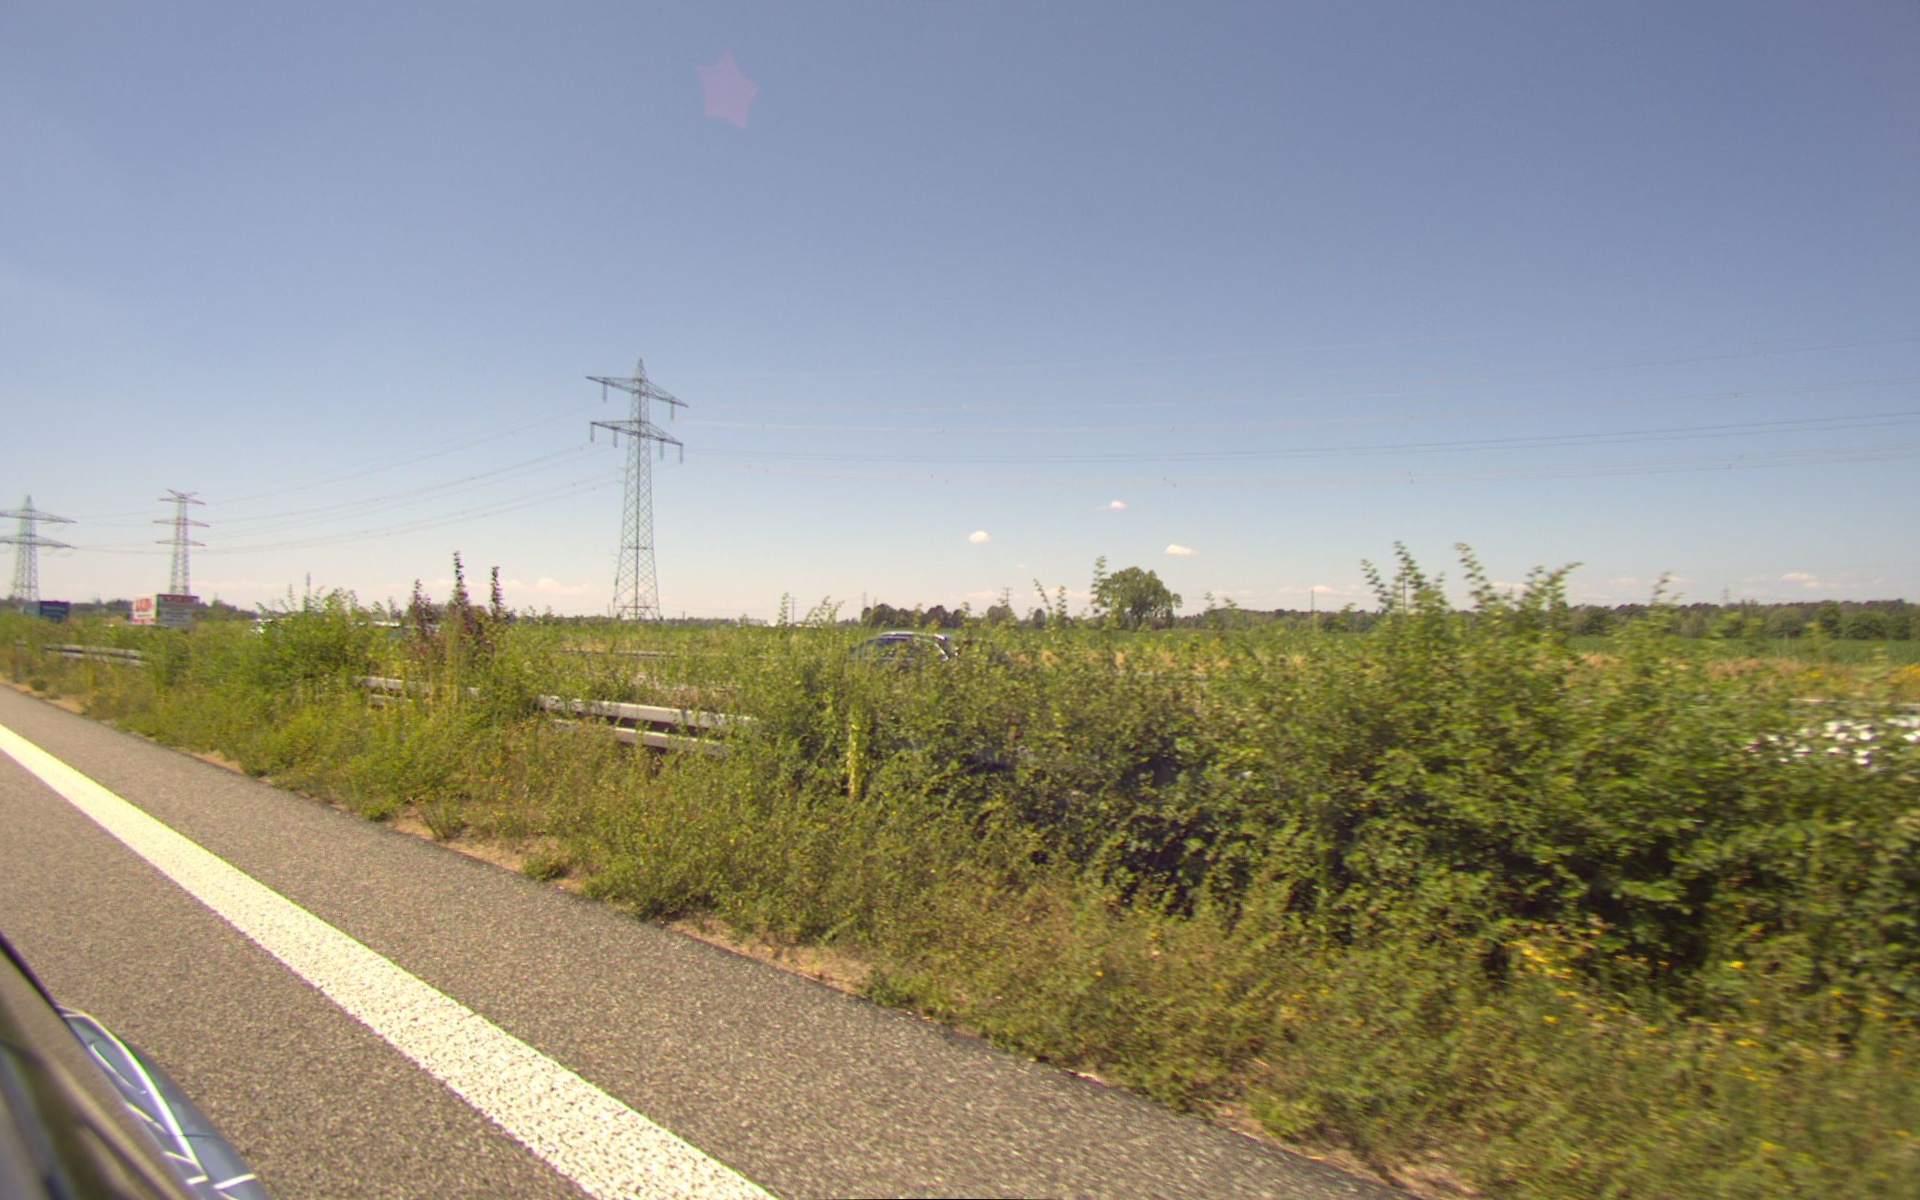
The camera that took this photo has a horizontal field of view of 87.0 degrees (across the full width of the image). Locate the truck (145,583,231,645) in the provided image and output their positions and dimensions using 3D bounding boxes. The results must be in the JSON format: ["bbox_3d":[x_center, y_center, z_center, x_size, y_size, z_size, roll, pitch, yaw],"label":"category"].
[{"bbox_3d":[-54.516,1.009,71.342,9.649,4.115,3.171,-1,-2,43],"label":"truck"}]

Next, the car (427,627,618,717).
[{"bbox_3d":[-9.134,1.394,20.959,4.556,1.667,1.842,-1,-2,41],"label":"car"}]

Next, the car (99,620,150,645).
[{"bbox_3d":[-56.323,2.179,68.194,4.555,1.667,1.842,-1,-2,41],"label":"car"}]

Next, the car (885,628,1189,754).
[{"bbox_3d":[1.074,1.278,15.762,4.556,1.667,1.842,-1,-2,41],"label":"car"}]

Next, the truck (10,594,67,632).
[{"bbox_3d":[-104.084,1.444,114.223,9.641,4.115,3.462,0,-2,40],"label":"truck"}]

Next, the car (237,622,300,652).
[{"bbox_3d":[-38.949,2.061,56.982,4.556,1.667,1.842,-1,-2,41],"label":"car"}]

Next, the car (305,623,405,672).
[{"bbox_3d":[-22.211,1.701,37.082,4.556,1.667,1.842,-1,-2,41],"label":"car"}]
